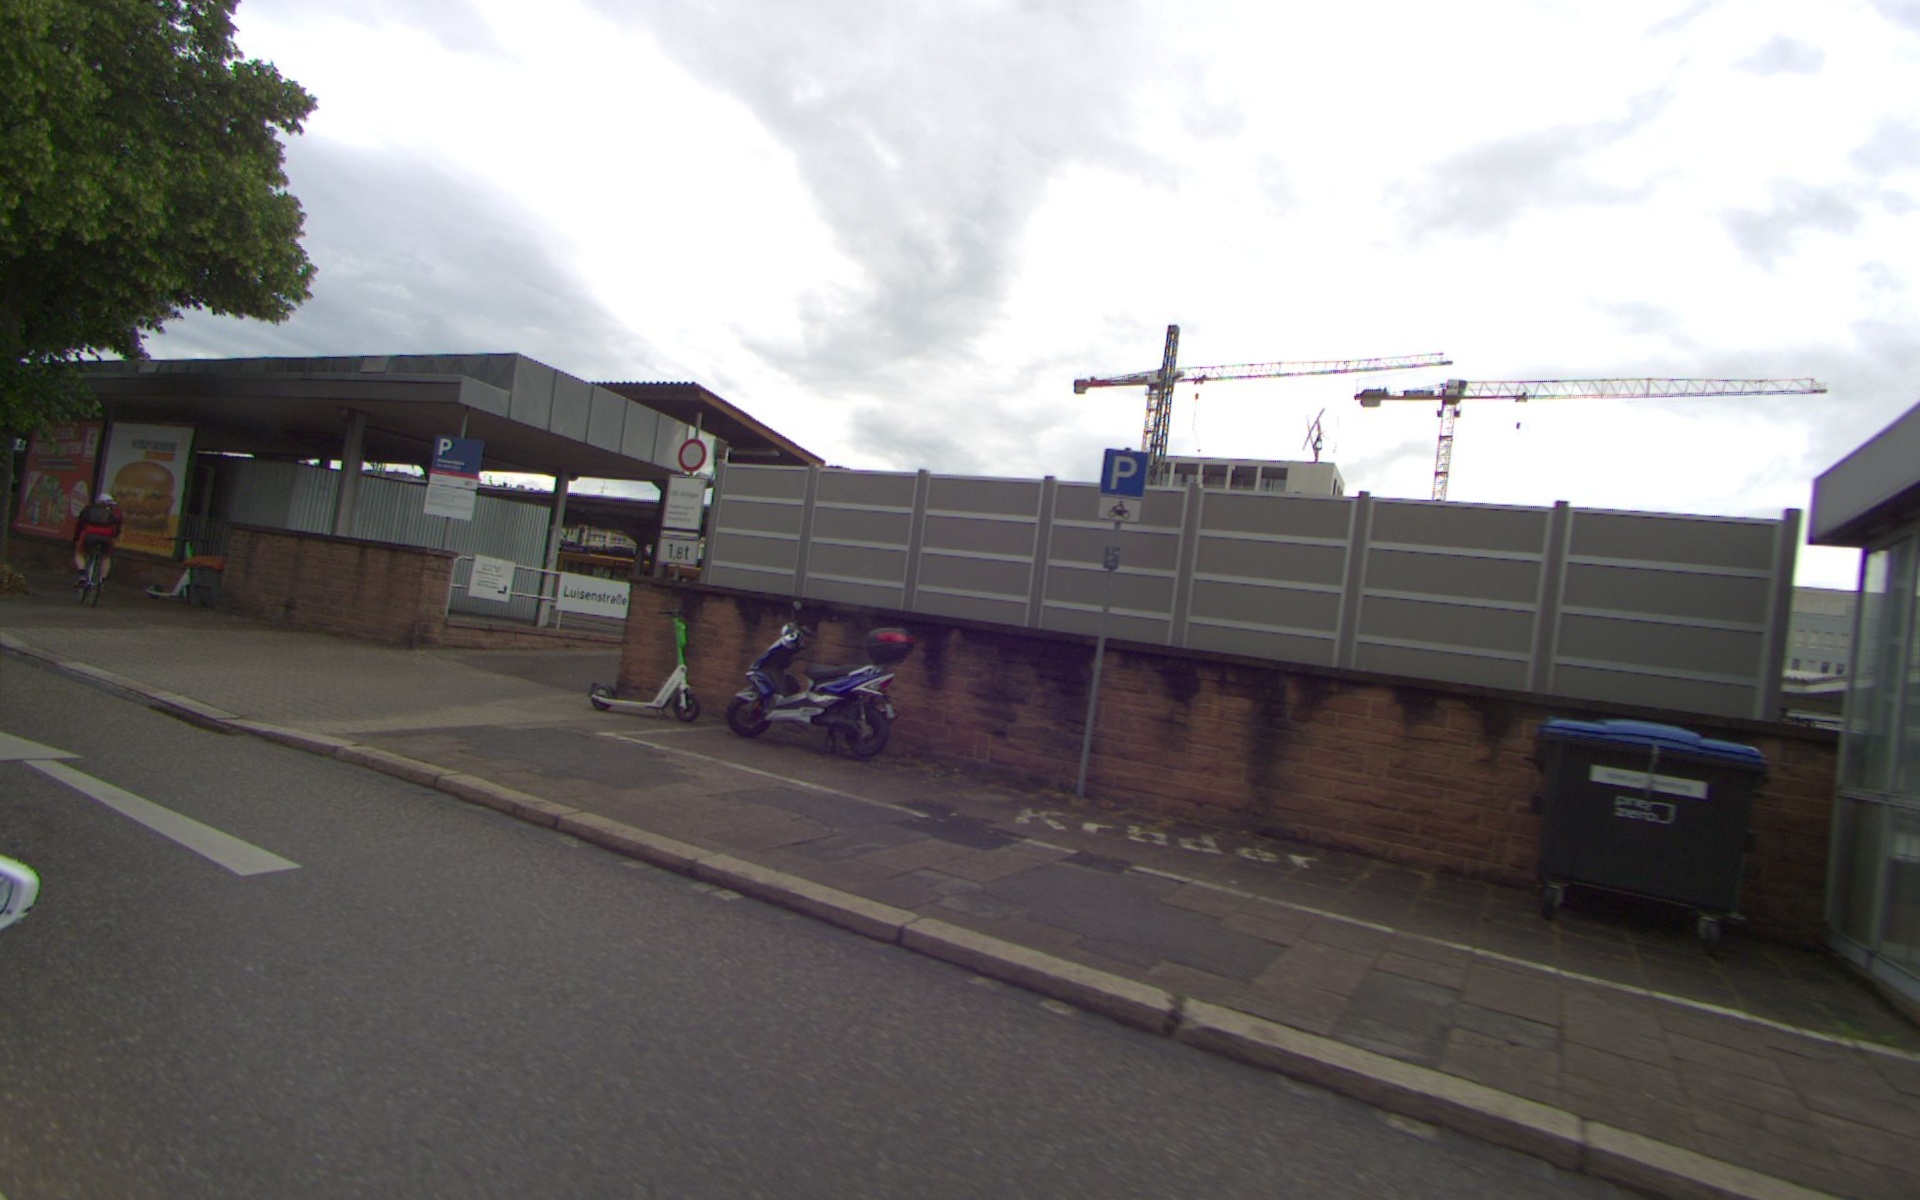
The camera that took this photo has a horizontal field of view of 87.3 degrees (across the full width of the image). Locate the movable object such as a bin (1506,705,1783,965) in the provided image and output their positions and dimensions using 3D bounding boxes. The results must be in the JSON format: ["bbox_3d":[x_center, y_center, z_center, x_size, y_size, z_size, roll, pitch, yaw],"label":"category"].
[{"bbox_3d":[4.476,1.471,6.731,1.294,1.354,1.036,7,-1,29],"label":"movable object such as a bin"}]

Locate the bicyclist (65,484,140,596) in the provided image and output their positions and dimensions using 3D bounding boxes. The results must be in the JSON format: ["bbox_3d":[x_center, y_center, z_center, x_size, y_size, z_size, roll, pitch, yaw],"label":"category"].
[{"bbox_3d":[-12.816,-0.891,15.030,0.682,1.557,0.534,7,1,28],"label":"bicyclist"}]

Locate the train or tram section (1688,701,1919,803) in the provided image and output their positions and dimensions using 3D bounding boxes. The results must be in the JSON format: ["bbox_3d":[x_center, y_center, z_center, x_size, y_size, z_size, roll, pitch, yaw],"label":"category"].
[{"bbox_3d":[43.901,7.712,51.005,10.739,3.645,2.747,7,-1,27],"label":"train or tram section"}]

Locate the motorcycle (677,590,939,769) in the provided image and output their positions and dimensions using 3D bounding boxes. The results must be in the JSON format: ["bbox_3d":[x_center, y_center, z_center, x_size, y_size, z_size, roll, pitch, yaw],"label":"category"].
[{"bbox_3d":[-1.521,0.736,9.892,2.414,1.363,0.793,7,-1,28],"label":"motorcycle"}]

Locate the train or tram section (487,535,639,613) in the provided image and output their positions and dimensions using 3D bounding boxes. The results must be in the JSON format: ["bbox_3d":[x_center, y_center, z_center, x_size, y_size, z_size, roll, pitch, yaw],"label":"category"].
[{"bbox_3d":[-22.597,-1.520,57.061,8.978,3.321,2.660,7,-1,30],"label":"train or tram section"}]

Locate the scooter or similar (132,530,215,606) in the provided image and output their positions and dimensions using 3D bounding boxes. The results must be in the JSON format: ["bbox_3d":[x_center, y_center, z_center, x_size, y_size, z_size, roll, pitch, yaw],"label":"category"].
[{"bbox_3d":[-13.957,-0.570,17.846,1.518,1.166,0.494,6,-1,28],"label":"scooter or similar"}]

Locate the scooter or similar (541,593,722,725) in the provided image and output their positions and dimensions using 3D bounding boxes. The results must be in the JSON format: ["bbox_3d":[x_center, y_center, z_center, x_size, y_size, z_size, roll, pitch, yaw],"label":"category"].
[{"bbox_3d":[-3.505,0.624,10.760,1.682,1.166,0.495,7,-1,11],"label":"scooter or similar"}]

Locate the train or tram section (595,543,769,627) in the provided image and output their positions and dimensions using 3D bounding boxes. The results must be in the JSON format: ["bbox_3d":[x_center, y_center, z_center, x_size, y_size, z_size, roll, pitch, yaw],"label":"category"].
[{"bbox_3d":[-14.606,-0.822,52.445,9.358,3.322,2.659,6,0,30],"label":"train or tram section"}]

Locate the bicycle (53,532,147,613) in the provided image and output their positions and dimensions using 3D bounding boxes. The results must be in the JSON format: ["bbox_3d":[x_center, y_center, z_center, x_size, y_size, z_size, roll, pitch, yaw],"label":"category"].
[{"bbox_3d":[-12.748,-0.411,14.898,1.648,1.029,0.447,7,1,29],"label":"bicycle"}]
